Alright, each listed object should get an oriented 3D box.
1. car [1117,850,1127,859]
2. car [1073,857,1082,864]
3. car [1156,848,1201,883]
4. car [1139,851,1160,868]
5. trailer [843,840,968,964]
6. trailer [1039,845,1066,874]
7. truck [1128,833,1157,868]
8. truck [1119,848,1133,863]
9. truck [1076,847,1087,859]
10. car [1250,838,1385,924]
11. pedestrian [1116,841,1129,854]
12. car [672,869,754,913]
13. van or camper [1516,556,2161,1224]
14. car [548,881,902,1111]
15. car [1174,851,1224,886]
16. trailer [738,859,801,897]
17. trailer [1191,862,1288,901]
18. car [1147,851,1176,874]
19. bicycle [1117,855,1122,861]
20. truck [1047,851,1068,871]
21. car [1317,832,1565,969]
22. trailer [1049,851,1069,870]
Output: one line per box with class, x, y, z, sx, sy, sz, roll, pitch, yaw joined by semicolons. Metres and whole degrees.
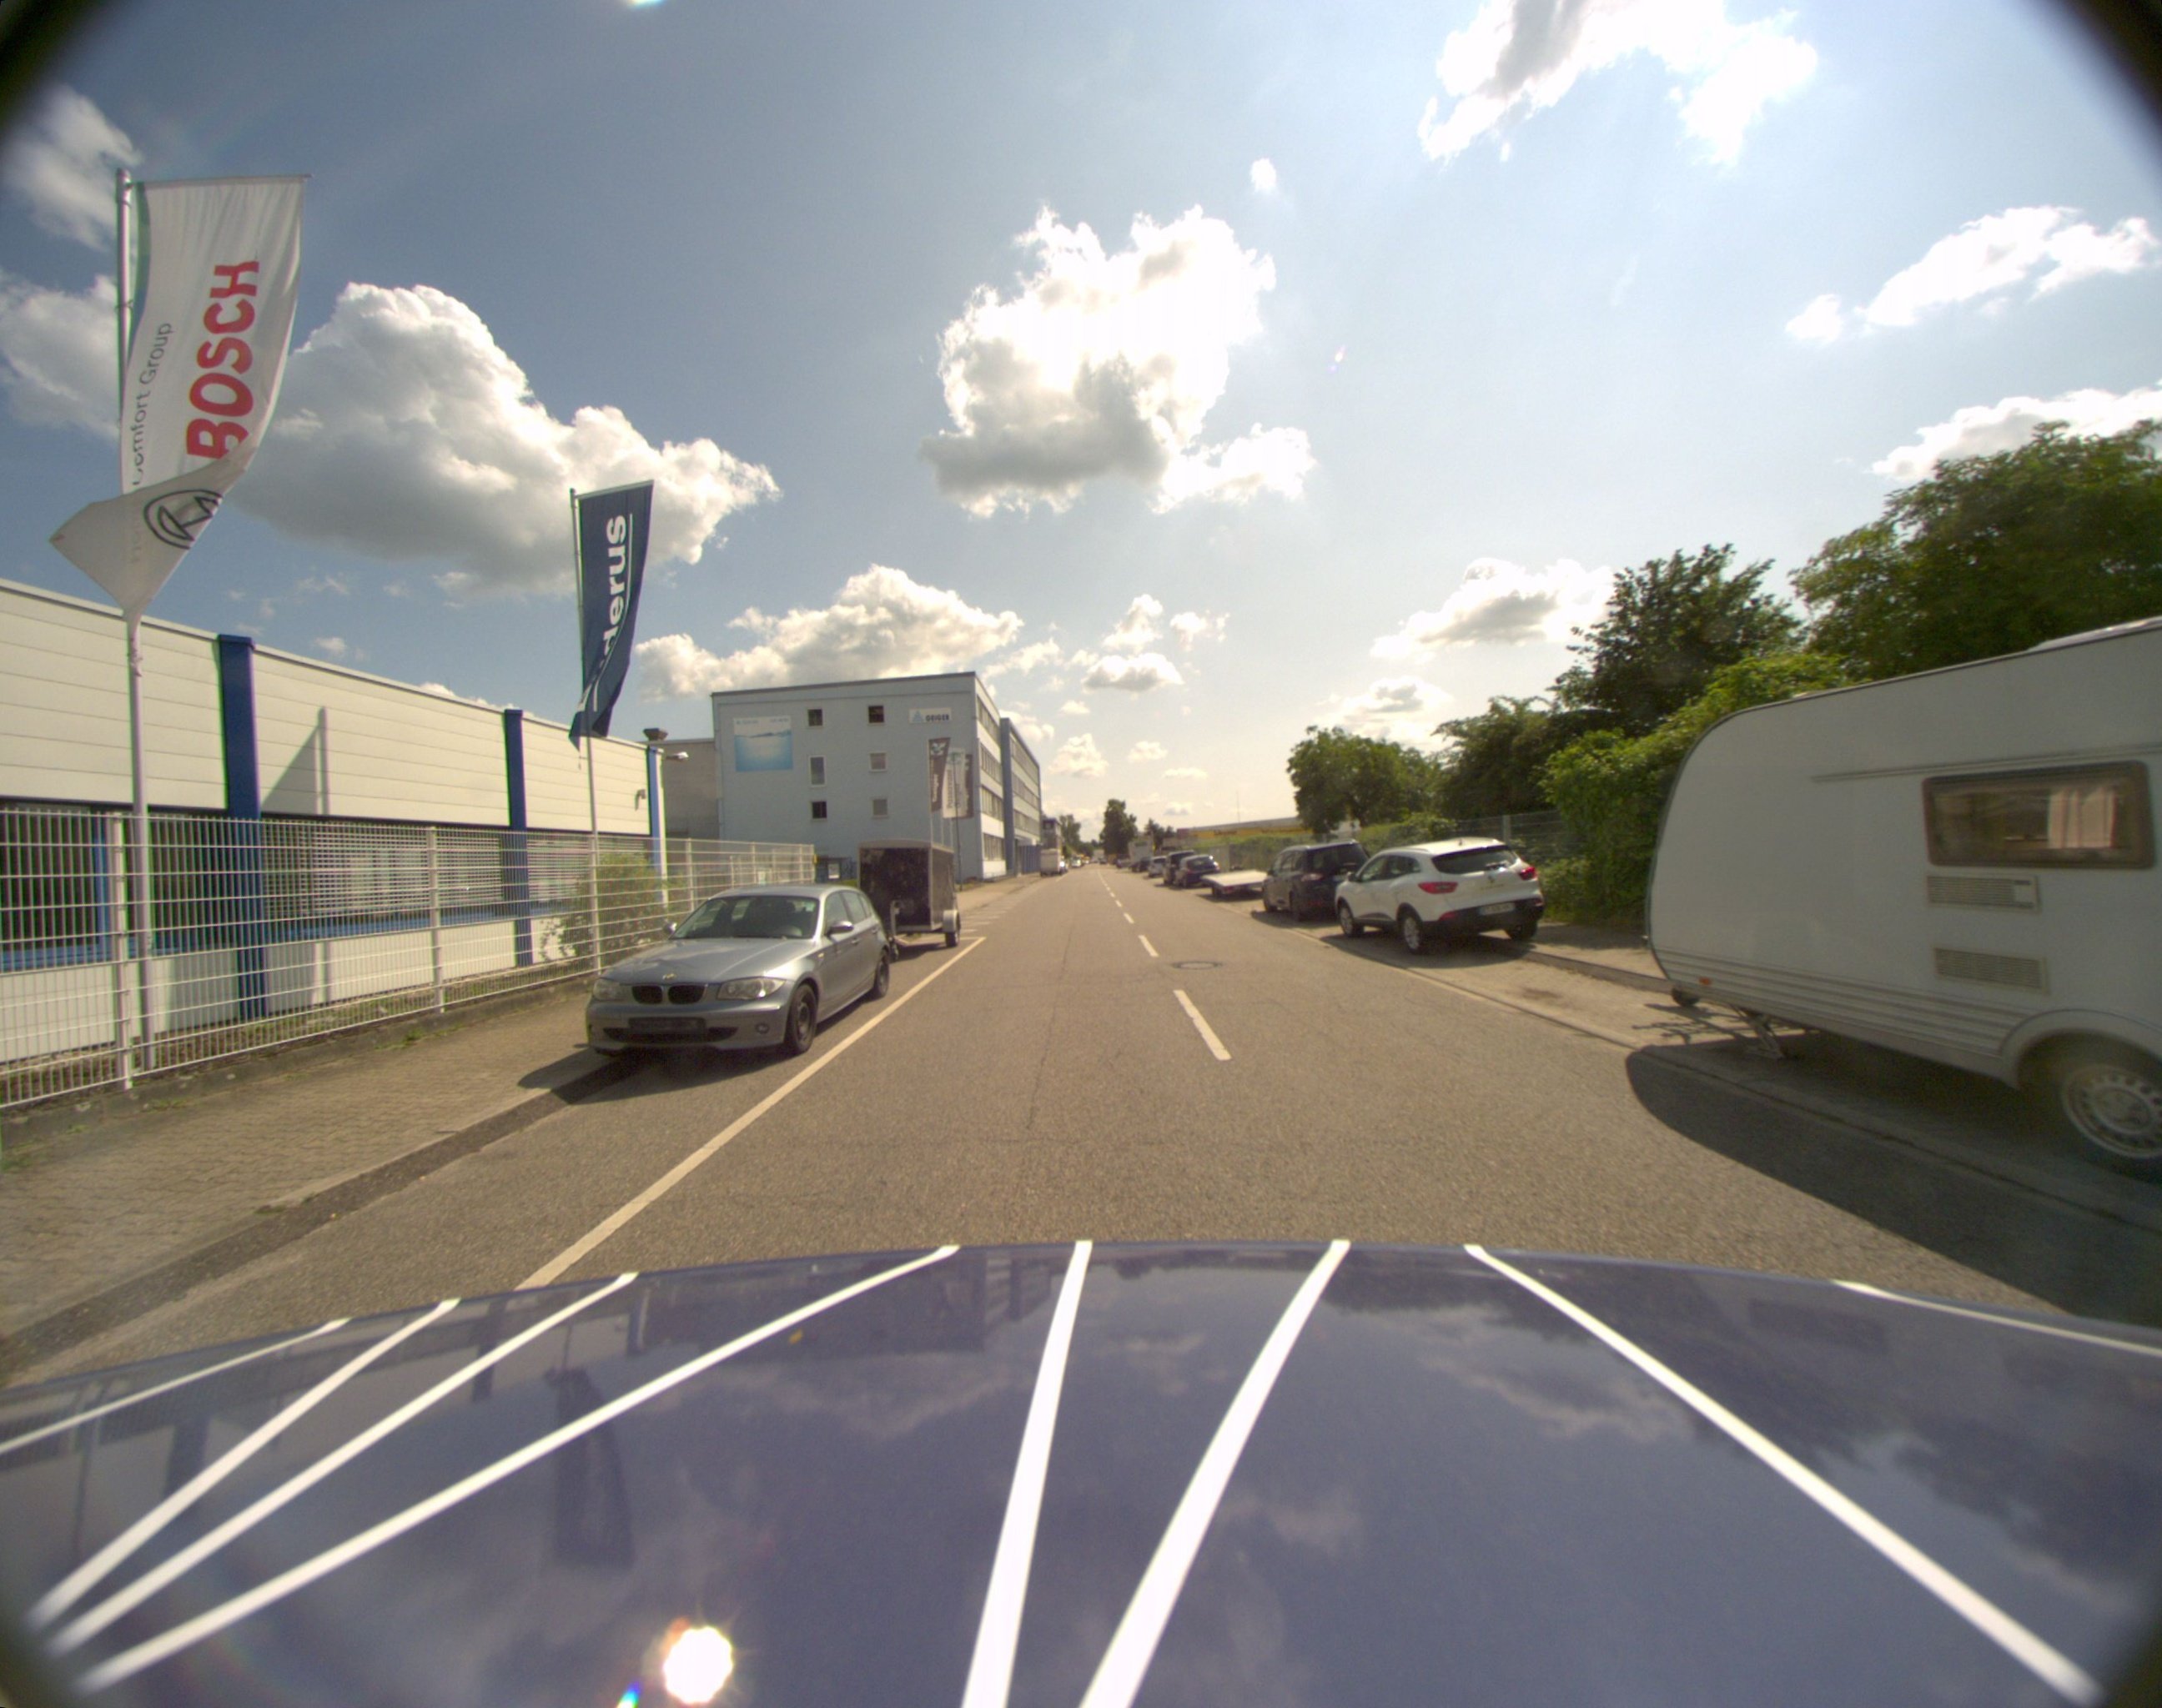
car;10.407;0.112;192.920;1.997;2.289;4.003;-3;0;11
car;-0.662;1.252;153.372;1.657;1.324;4.000;-3;0;0
car;5.283;0.578;41.724;1.806;1.739;4.713;-2;0;0
car;6.774;0.522;75.111;1.623;1.421;3.827;-9;0;1
trailer;-3.206;0.820;14.380;1.605;2.025;2.741;-3;0;0
trailer;-2.583;0.463;70.218;1.873;2.538;5.073;-2;0;4
truck;6.563;-0.325;82.345;2.256;3.342;6.907;-7;0;0
truck;7.559;0.283;127.115;2.133;2.225;7.351;-5;0;4
truck;0.215;-0.280;185.446;2.402;2.787;6.376;-2;0;2
car;5.636;0.571;18.782;1.831;1.783;4.735;-2;0;0
pedestrian;6.939;-1.125;126.335;1.998;2.002;4.000;-4;1;2
car;-18.120;1.784;37.665;1.999;1.859;4.140;-3;0;-1
van or camper;5.579;0.070;4.060;2.268;2.787;6.832;-6;0;-1
car;-3.151;1.135;7.753;1.576;1.498;4.132;-3;0;0
car;5.630;0.662;36.740;1.581;1.504;4.201;-3;0;-1
trailer;-17.997;1.324;44.194;1.690;1.973;5.276;-2;0;-3
trailer;5.688;0.927;28.404;2.276;0.878;7.132;-7;0;2
car;5.805;0.576;55.174;1.619;1.475;3.709;-5;0;1
bicycle;4.819;0.506;95.805;0.589;0.737;2.125;-3;0;3
truck;-2.491;0.703;82.538;1.969;2.023;4.734;-3;0;0
car;5.621;0.633;12.619;1.688;1.682;4.444;-7;0;-3
trailer;-2.505;0.707;86.035;1.978;1.959;5.766;-2;0;0
